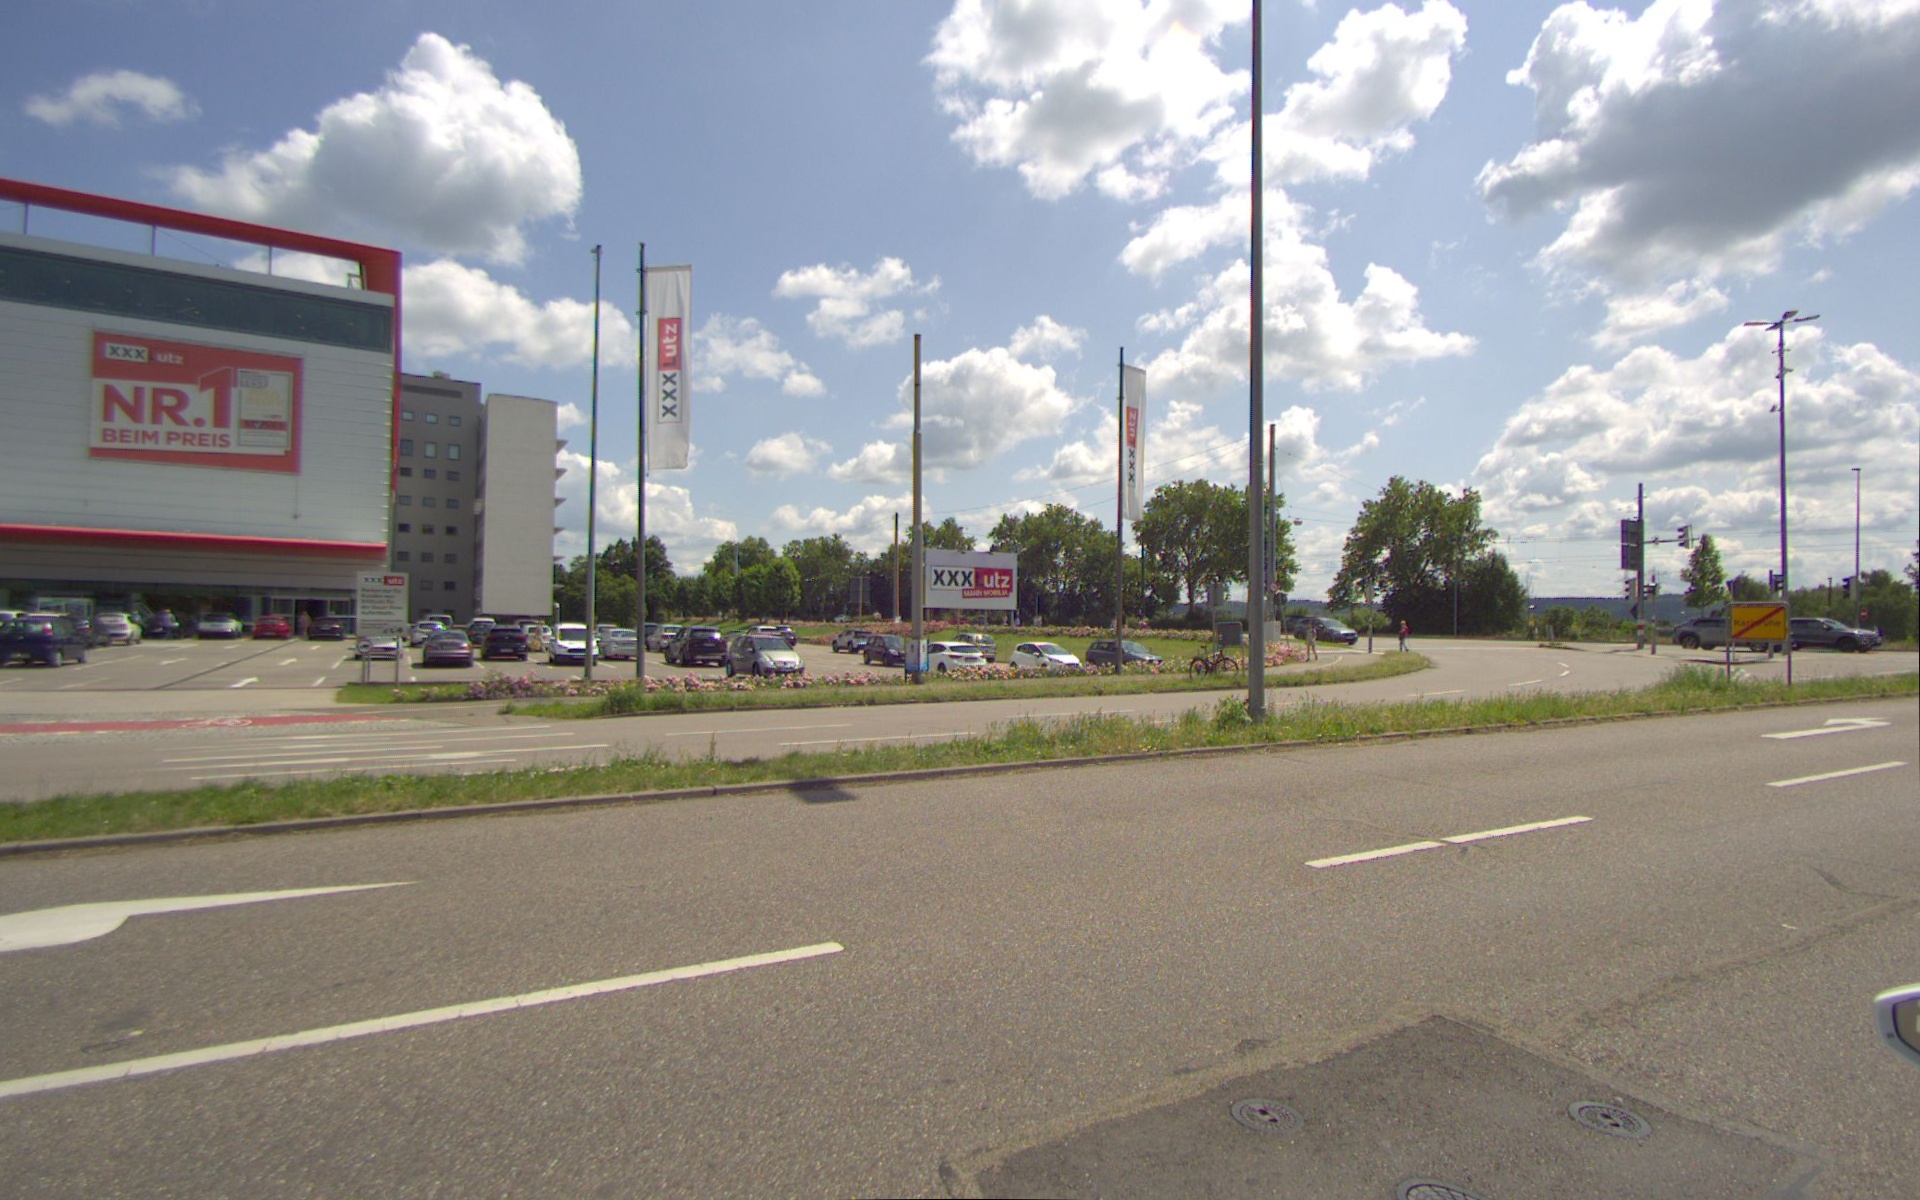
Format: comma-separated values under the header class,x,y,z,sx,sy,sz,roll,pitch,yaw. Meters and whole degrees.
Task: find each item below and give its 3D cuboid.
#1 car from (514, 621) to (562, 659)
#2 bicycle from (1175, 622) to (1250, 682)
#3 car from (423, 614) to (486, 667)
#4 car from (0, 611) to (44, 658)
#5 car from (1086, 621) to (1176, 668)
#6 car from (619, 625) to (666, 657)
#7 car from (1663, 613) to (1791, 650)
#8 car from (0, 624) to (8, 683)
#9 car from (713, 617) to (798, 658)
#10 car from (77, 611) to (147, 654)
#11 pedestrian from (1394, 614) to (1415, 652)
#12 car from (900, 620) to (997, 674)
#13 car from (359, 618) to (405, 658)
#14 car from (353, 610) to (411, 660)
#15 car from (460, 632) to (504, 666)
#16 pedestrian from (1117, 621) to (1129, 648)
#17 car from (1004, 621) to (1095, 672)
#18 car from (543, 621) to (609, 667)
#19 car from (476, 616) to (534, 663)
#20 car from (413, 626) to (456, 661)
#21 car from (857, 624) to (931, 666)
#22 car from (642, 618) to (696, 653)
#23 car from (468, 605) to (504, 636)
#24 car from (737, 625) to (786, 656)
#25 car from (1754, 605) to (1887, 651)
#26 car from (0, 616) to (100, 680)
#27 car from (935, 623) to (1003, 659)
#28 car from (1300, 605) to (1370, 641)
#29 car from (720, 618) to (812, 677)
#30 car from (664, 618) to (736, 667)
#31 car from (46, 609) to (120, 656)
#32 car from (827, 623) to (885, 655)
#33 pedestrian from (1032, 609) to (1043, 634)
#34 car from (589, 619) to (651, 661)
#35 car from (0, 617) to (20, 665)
class,x,y,z,sx,sy,sz,roll,pitch,yaw
car,-23.366,2.226,55.547,1.977,2.015,4.054,1,-2,-30
bicycle,7.458,1.517,29.690,2.024,1.697,1.013,1,-2,-30
car,-20.158,1.601,39.977,1.977,2.015,4.328,1,-2,-30
car,-42.781,1.535,44.733,1.977,2.015,4.328,1,-2,-30
car,7.648,1.994,45.286,1.976,2.040,3.970,1,-2,-29
car,-20.354,2.609,64.310,1.977,2.015,4.328,1,-2,-30
car,36.502,1.513,47.936,1.881,1.696,4.485,1,-2,-30
car,-33.160,1.816,32.997,1.822,2.015,4.051,2,-1,-31
car,-10.684,1.931,52.162,1.985,2.015,5.245,2,-3,-41
car,-42.576,1.620,50.529,1.977,2.040,3.968,1,-2,-30
pedestrian,22.100,1.625,49.952,0.784,1.862,0.865,2,0,32
car,-0.516,1.825,39.698,1.977,2.015,4.328,1,-2,-30
car,-30.489,1.998,53.026,1.977,2.015,4.328,1,-2,-30
car,-24.996,1.530,43.468,1.977,2.015,4.328,3,-3,-30
car,-28.113,2.871,58.975,1.977,1.906,4.328,1,-2,-30
pedestrian,11.097,2.346,68.265,0.588,1.834,0.532,0,-2,-19
car,3.737,1.939,42.590,1.976,2.040,3.970,1,-2,-29
car,-16.539,1.875,43.182,1.977,1.863,4.328,1,-2,-30
car,-20.564,1.779,45.300,1.977,2.015,4.328,1,-2,-30
car,-30.052,2.448,57.409,1.977,1.906,4.328,1,-2,-30
car,-3.342,2.226,50.048,1.977,2.015,4.328,1,-2,-30
car,-17.341,2.116,59.744,1.977,2.015,4.589,1,-2,-31
car,-32.296,1.406,68.350,1.975,2.015,4.057,1,-2,-28
car,-13.475,2.733,67.982,1.977,2.015,4.328,1,-2,-30
car,40.437,1.339,47.313,1.977,2.015,4.328,1,-2,-30
car,-30.999,1.567,34.050,1.977,2.015,4.328,1,-1,-30
car,0.475,2.361,57.997,1.977,2.015,4.328,1,-2,-30
car,21.914,1.391,58.853,1.966,2.040,3.990,0,-2,-13
car,-7.134,1.704,36.644,1.977,2.015,4.328,1,-2,-30
car,-11.731,1.878,45.129,1.977,2.015,4.560,2,-2,-30
car,-40.194,1.474,46.133,1.756,2.040,3.968,1,-2,-30
car,-6.921,2.577,66.468,2.223,2.015,4.328,1,-2,-30
pedestrian,6.292,1.760,81.949,0.761,2.040,0.566,0,-2,-9
car,-16.426,1.918,48.407,1.977,1.906,4.328,1,-2,-30
car,-47.355,1.979,48.468,1.848,2.336,4.535,1,-2,-30
